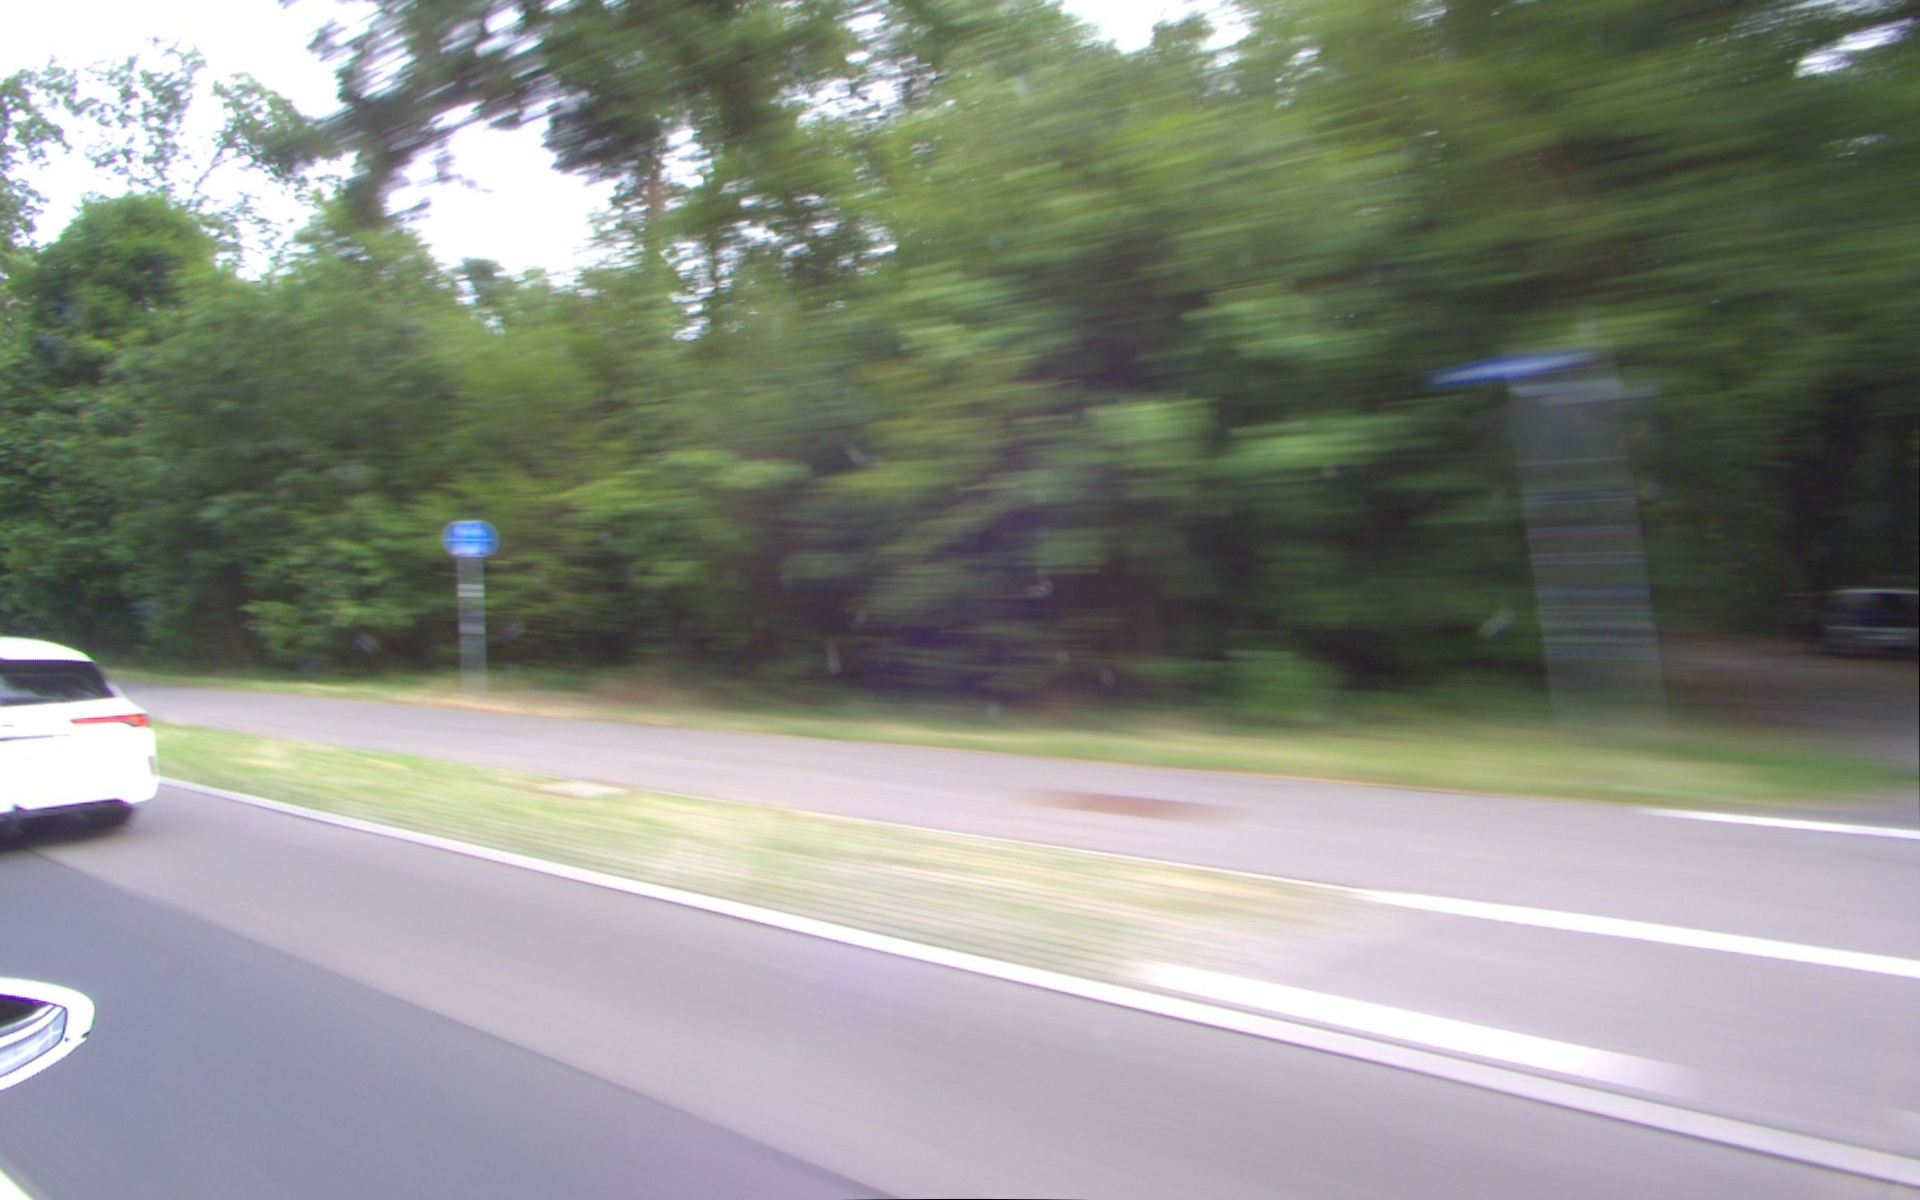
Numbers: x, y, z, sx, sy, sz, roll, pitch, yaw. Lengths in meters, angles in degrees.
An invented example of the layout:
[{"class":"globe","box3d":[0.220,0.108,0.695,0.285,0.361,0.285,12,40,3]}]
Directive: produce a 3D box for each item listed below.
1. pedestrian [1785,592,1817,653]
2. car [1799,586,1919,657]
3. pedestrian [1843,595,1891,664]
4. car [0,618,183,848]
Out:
[{"class":"pedestrian","box3d":[24.089,0.654,28.694,0.658,1.730,0.551,2,-3,-38]},{"class":"car","box3d":[24.965,0.668,27.666,1.970,1.816,3.985,-1,-3,29]},{"class":"pedestrian","box3d":[23.409,0.773,25.857,0.746,1.730,0.663,-1,-2,29]},{"class":"car","box3d":[-7.857,0.858,7.576,4.428,1.428,1.832,0,-1,34]}]
